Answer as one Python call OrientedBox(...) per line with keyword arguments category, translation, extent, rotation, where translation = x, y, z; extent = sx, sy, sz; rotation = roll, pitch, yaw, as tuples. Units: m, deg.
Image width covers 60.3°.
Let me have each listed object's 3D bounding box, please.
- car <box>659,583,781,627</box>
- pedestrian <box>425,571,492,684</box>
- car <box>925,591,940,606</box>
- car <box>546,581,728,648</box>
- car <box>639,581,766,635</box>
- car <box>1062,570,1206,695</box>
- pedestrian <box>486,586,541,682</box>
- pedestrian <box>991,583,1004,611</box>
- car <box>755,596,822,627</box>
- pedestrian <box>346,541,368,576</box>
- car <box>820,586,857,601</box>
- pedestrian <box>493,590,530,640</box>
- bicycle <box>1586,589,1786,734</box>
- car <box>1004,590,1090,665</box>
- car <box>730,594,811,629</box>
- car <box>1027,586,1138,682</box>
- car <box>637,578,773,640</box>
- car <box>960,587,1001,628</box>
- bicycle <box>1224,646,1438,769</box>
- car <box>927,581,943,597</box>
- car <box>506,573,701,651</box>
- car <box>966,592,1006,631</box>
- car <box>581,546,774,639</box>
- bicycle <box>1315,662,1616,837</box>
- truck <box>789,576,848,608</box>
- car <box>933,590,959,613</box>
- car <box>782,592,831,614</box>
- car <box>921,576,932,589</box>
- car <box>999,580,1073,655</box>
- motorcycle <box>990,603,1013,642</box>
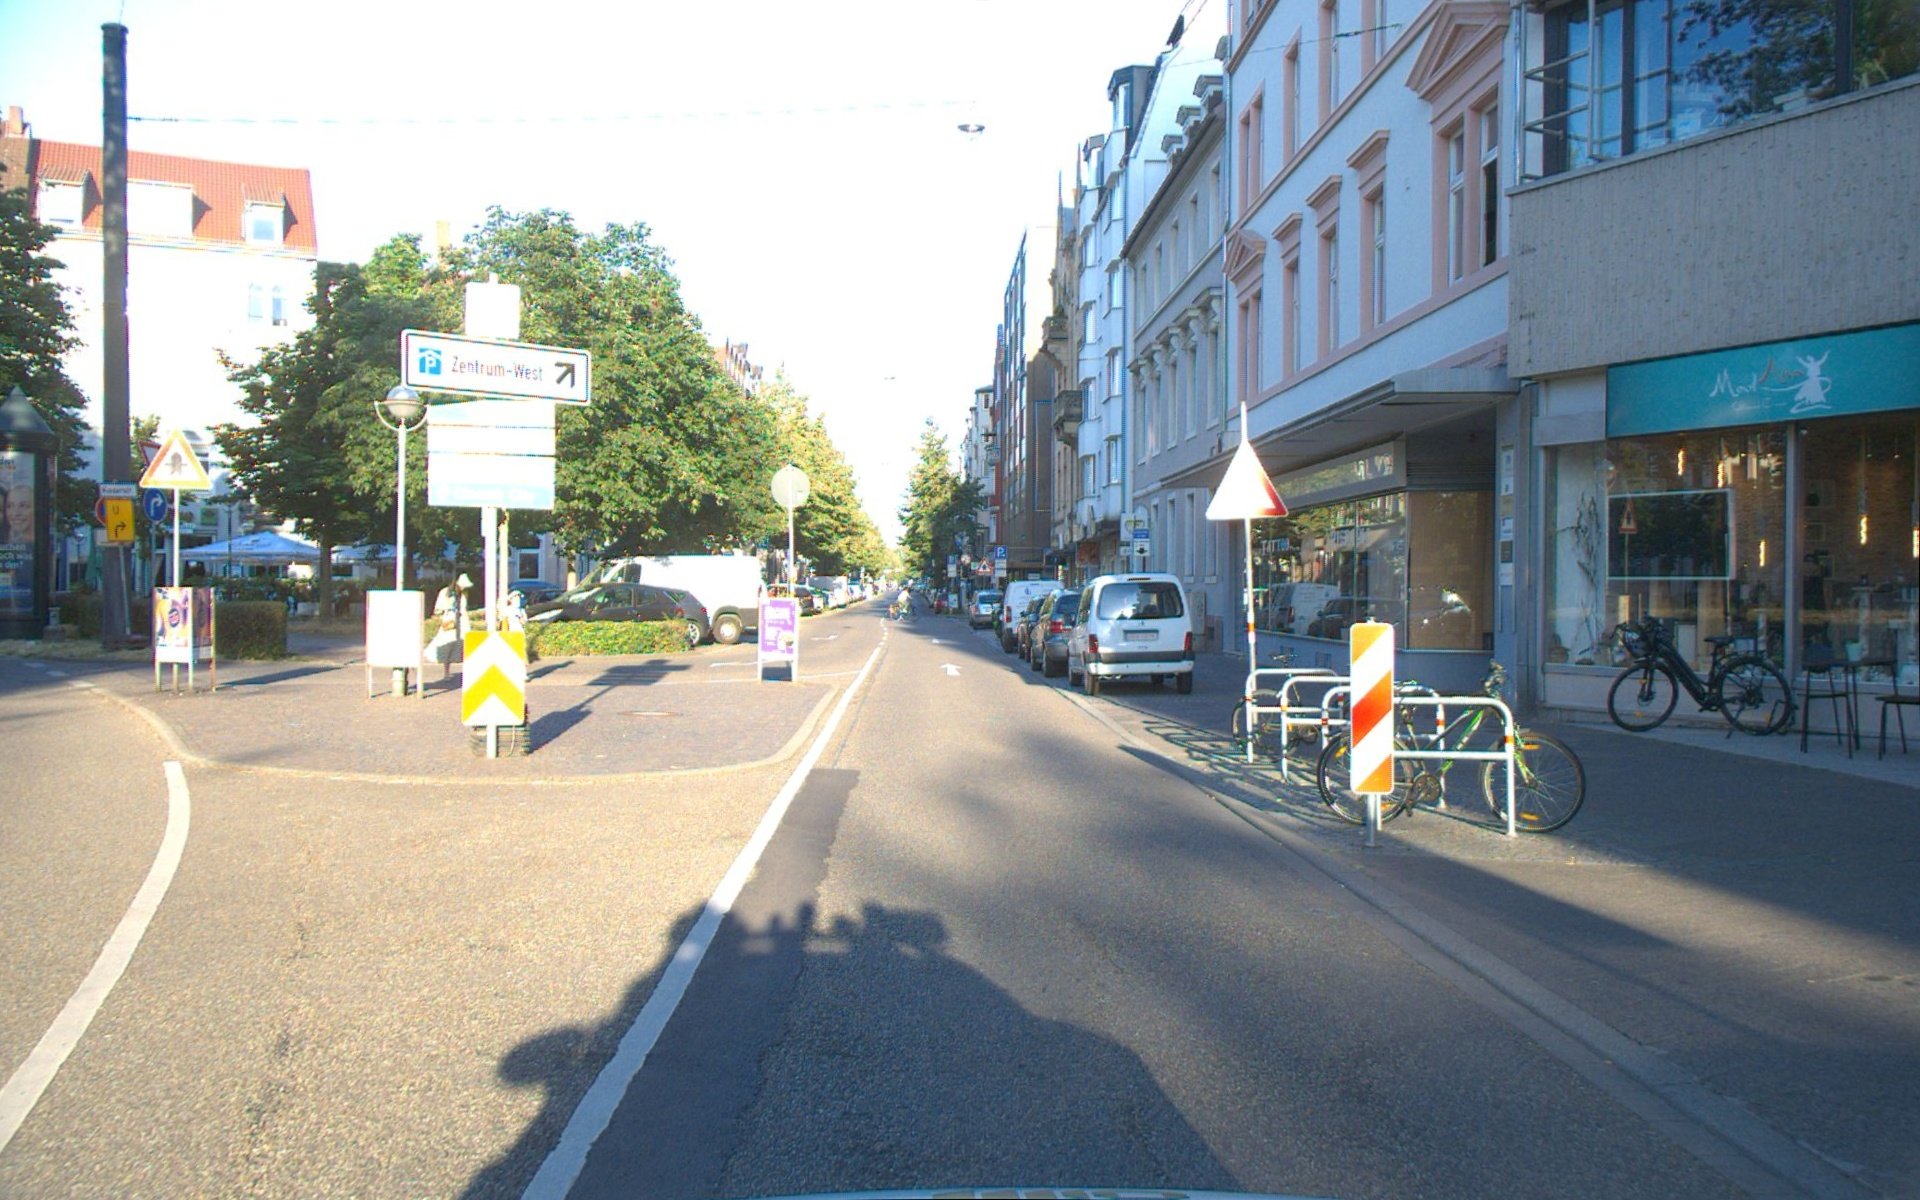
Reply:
OrientedBox(category="car", translation=(-8.755, 0.184, 60.333), extent=(3.947, 1.511, 1.979), rotation=(1, 0, -31))
OrientedBox(category="pedestrian", translation=(-7.240, 0.389, 23.883), extent=(0.693, 1.586, 0.685), rotation=(1, 0, -39))
OrientedBox(category="car", translation=(-2.499, -0.138, 149.632), extent=(1.183, 1.323, 2.658), rotation=(1, -1, -4))
OrientedBox(category="car", translation=(-7.762, 0.347, 39.962), extent=(3.965, 1.512, 1.805), rotation=(1, 1, -42))
OrientedBox(category="car", translation=(-8.766, 0.287, 56.414), extent=(3.959, 1.725, 1.726), rotation=(1, 0, -38))
OrientedBox(category="car", translation=(2.696, 0.476, 26.504), extent=(1.756, 1.823, 4.090), rotation=(0, 0, -2))
OrientedBox(category="pedestrian", translation=(-6.575, 0.496, 24.355), extent=(0.559, 1.388, 0.606), rotation=(1, 0, -39))
OrientedBox(category="pedestrian", translation=(2.293, -0.171, 100.852), extent=(0.750, 1.718, 0.785), rotation=(0, 0, -4))
OrientedBox(category="car", translation=(-10.431, 0.714, 100.661), extent=(3.910, 1.738, 1.832), rotation=(1, 0, -3))
OrientedBox(category="pedestrian", translation=(-21.976, -1.504, 60.277), extent=(0.522, 1.237, 0.527), rotation=(-1, 1, 5))
OrientedBox(category="car", translation=(-12.673, -0.674, 172.772), extent=(3.665, 1.519, 1.999), rotation=(2, 0, -3))
OrientedBox(category="pedestrian", translation=(-11.820, 0.387, 43.594), extent=(0.742, 1.299, 0.652), rotation=(1, 0, -39))
OrientedBox(category="bicycle", translation=(6.792, 0.587, 15.530), extent=(0.412, 1.299, 1.637), rotation=(0, -3, -44))
OrientedBox(category="car", translation=(1.959, 0.597, 38.205), extent=(1.633, 1.571, 3.881), rotation=(1, 1, -2))
OrientedBox(category="car", translation=(-10.674, 0.646, 93.458), extent=(4.360, 1.867, 2.033), rotation=(1, 0, -3))
OrientedBox(category="car", translation=(2.303, 0.594, 31.990), extent=(1.623, 1.694, 4.106), rotation=(1, 0, -3))
OrientedBox(category="car", translation=(-8.267, 0.289, 53.686), extent=(3.959, 1.911, 1.846), rotation=(1, 1, -38))
OrientedBox(category="car", translation=(0.904, 0.336, 75.723), extent=(1.662, 1.800, 3.998), rotation=(0, 1, -3))
OrientedBox(category="bicycle", translation=(3.262, 0.943, 14.552), extent=(1.751, 1.007, 0.542), rotation=(-2, 2, 21))
OrientedBox(category="car", translation=(-2.207, -0.971, 145.539), extent=(1.183, 1.323, 2.658), rotation=(2, 0, -4))
OrientedBox(category="car", translation=(-7.855, 0.245, 36.600), extent=(3.850, 1.610, 1.776), rotation=(0, 1, -42))
OrientedBox(category="car", translation=(1.094, 0.468, 70.677), extent=(1.646, 1.588, 4.000), rotation=(-1, 1, 0))
OrientedBox(category="car", translation=(-7.444, -0.166, 43.580), extent=(4.547, 2.290, 2.182), rotation=(1, 0, -29))
OrientedBox(category="bicycle", translation=(3.190, 0.950, 10.557), extent=(1.749, 1.007, 0.542), rotation=(-2, 2, 10))
OrientedBox(category="truck", translation=(-11.928, -0.694, 139.668), extent=(4.842, 2.661, 1.999), rotation=(0, 0, -3))
OrientedBox(category="car", translation=(-1.007, 0.094, 117.648), extent=(1.546, 1.570, 3.393), rotation=(-1, 0, -5))
OrientedBox(category="car", translation=(-11.857, 0.217, 128.078), extent=(3.665, 1.624, 1.999), rotation=(2, 0, -3))
OrientedBox(category="car", translation=(-4.436, -2.318, 220.092), extent=(1.283, 1.628, 2.658), rotation=(1, -1, -5))
OrientedBox(category="car", translation=(1.993, 0.429, 44.486), extent=(1.675, 1.867, 4.305), rotation=(1, 1, -1))
OrientedBox(category="motorcycle", translation=(1.341, 0.720, 53.889), extent=(0.576, 1.221, 2.209), rotation=(1, 1, -2))
